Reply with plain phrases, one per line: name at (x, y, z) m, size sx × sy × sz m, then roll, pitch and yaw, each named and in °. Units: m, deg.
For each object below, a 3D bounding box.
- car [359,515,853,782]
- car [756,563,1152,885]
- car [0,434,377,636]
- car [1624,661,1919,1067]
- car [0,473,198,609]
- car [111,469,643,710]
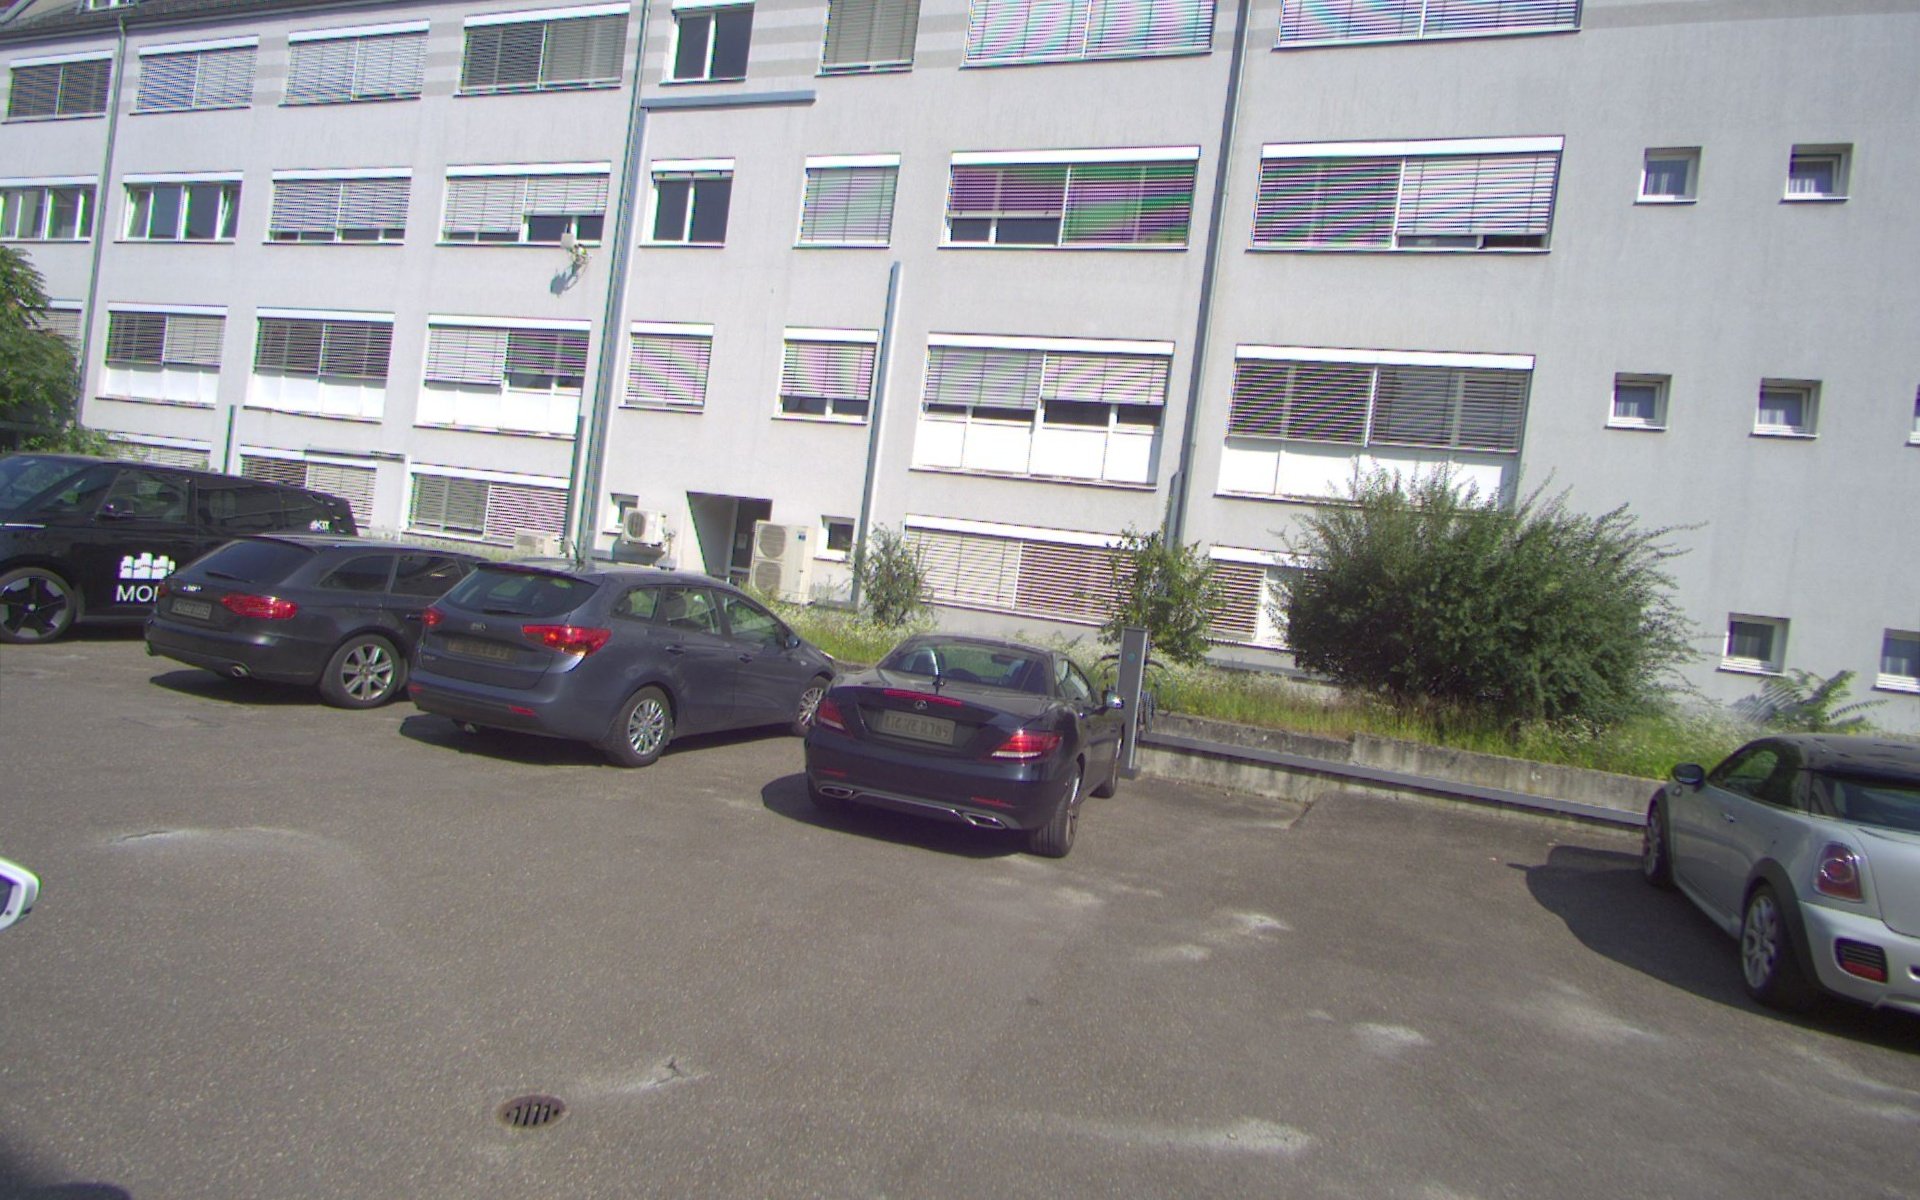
car at (-2.709, 0.407, 8.732) m, size 1.845 × 1.608 × 3.875 m, roll 7°, pitch -1°, yaw 21°
car at (0.262, 0.783, 7.696) m, size 1.861 × 1.608 × 3.814 m, roll 7°, pitch -1°, yaw 16°
car at (-9.141, -0.631, 11.112) m, size 1.847 × 1.816 × 4.516 m, roll 7°, pitch 0°, yaw 17°
car at (5.486, 1.370, 6.027) m, size 1.770 × 1.566 × 3.623 m, roll 7°, pitch 3°, yaw 24°
car at (-11.832, -0.798, 12.057) m, size 1.741 × 1.500 × 3.946 m, roll 7°, pitch 0°, yaw 17°
car at (-5.254, 0.017, 9.772) m, size 1.739 × 1.712 × 4.130 m, roll 7°, pitch -1°, yaw 23°
